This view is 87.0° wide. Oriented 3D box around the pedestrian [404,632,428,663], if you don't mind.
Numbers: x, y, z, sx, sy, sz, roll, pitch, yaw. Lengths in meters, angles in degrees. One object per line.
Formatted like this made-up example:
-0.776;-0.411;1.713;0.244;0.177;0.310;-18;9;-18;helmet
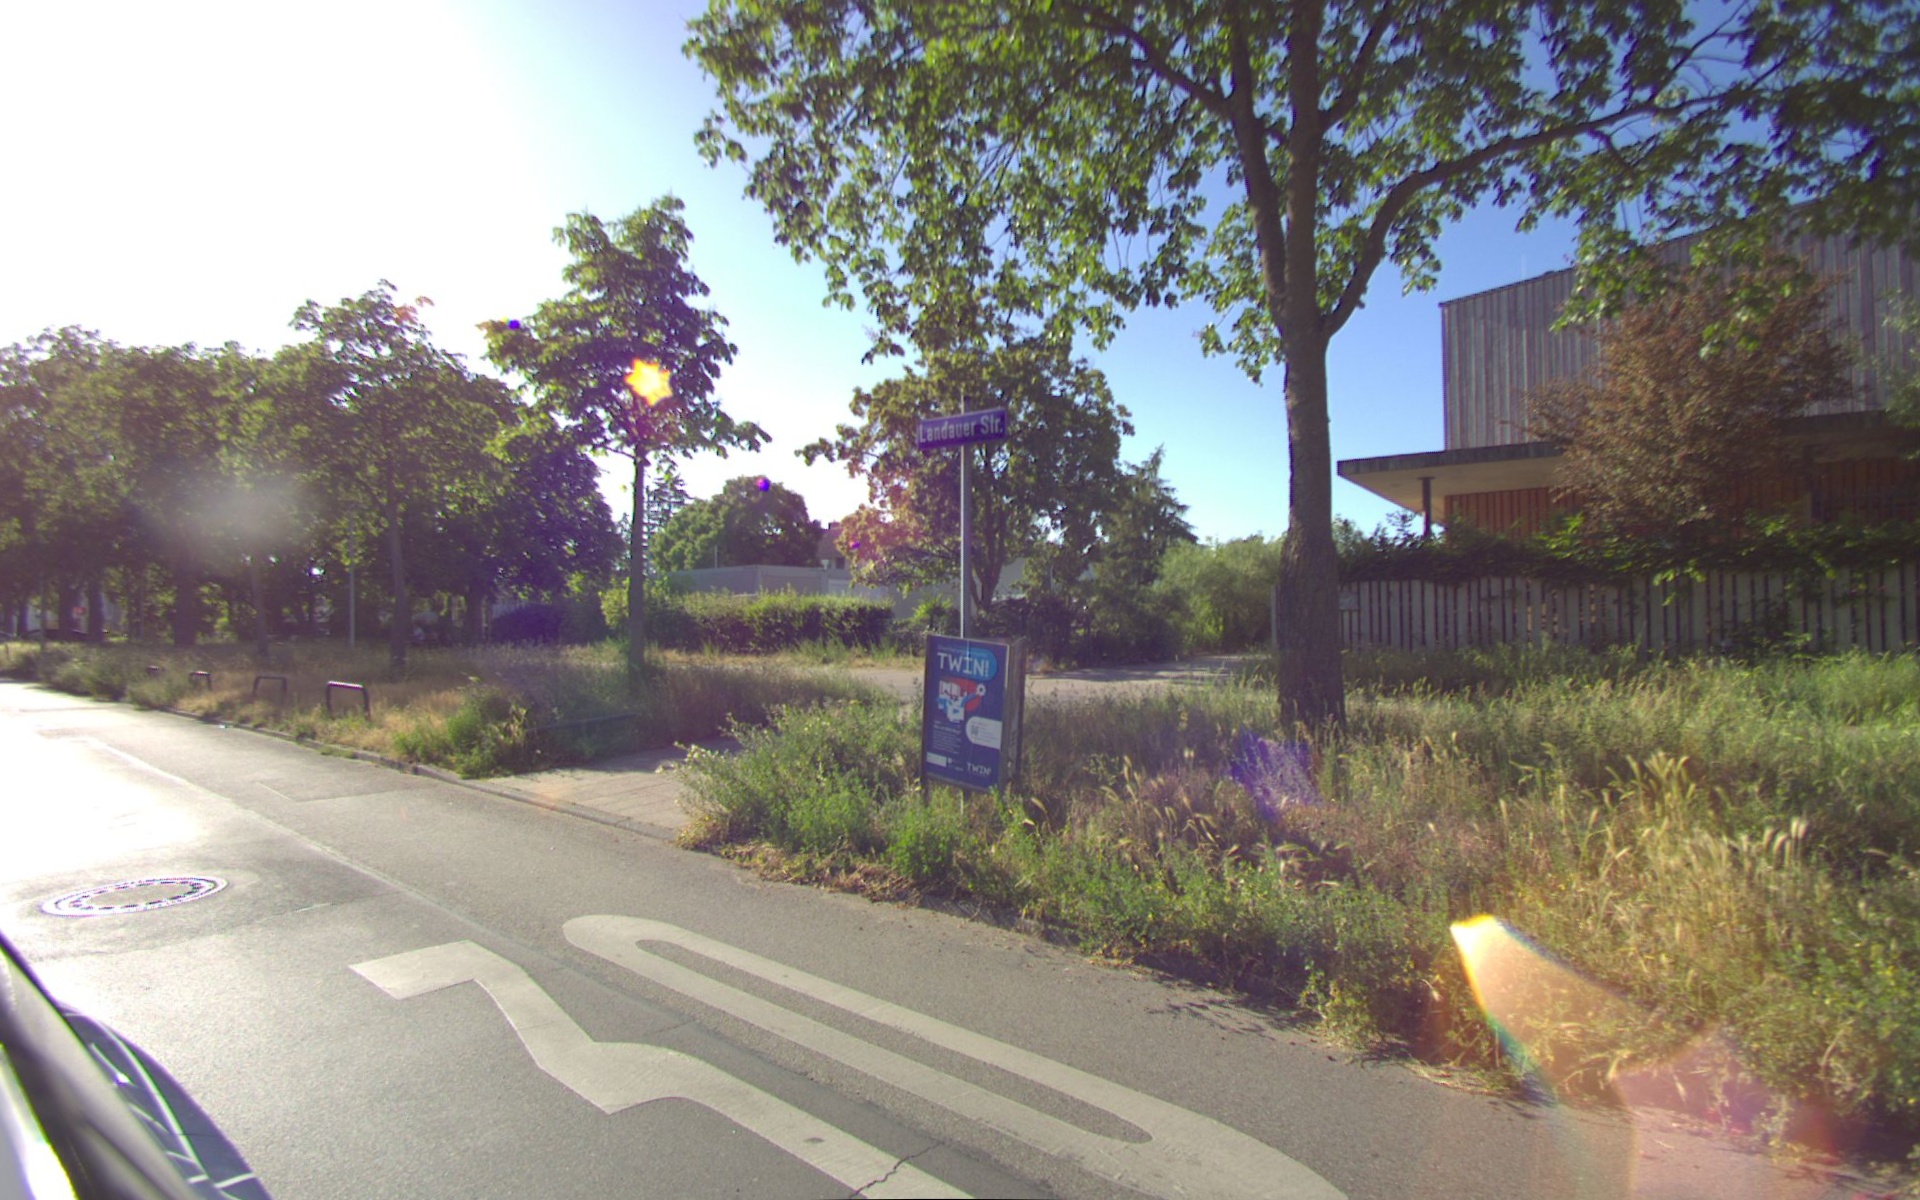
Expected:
-21.121;1.835;39.283;0.521;1.166;0.631;-2;1;40;pedestrian

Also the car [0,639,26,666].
-59.571;3.265;61.398;2.000;1.573;4.149;-2;-1;42;car
